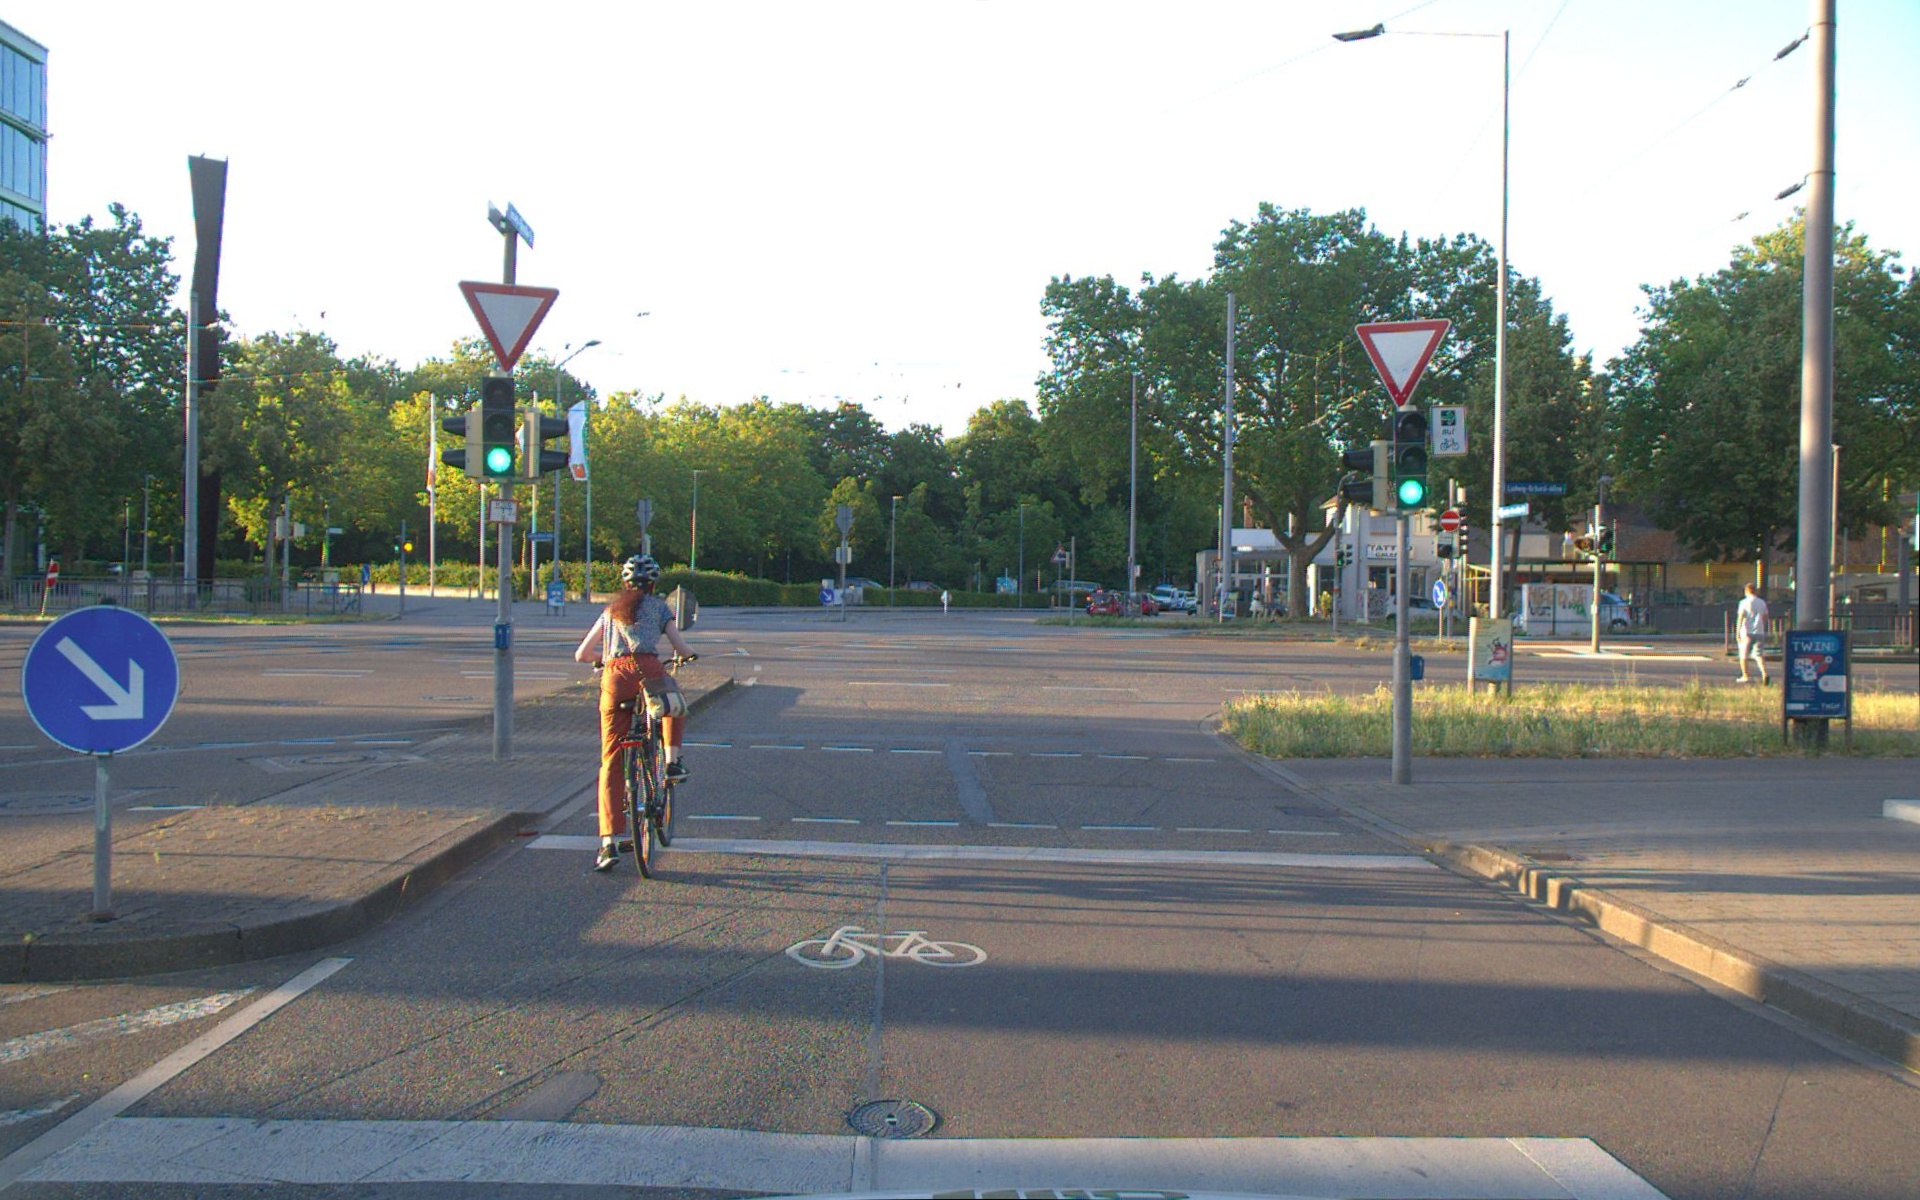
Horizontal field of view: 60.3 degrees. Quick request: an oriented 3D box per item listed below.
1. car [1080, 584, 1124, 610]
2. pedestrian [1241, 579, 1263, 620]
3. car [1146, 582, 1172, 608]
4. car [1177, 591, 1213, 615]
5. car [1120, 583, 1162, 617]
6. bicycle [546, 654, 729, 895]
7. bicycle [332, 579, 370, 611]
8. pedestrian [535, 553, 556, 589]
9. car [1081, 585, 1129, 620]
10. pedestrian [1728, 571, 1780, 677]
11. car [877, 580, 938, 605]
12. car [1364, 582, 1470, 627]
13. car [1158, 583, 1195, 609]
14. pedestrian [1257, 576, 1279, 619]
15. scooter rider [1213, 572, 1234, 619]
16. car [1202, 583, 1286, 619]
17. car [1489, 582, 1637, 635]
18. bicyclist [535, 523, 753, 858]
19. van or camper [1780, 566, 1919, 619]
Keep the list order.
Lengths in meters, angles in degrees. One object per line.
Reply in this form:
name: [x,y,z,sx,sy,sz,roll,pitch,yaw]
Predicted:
car: [9.287,-0.176,107.922,1.719,1.568,4.400,0,-1,21]
pedestrian: [12.177,-0.032,68.929,0.704,1.667,0.897,1,0,23]
car: [15.803,-0.415,131.391,1.951,2.049,4.003,1,1,6]
car: [16.437,0.172,115.725,1.875,1.630,4.002,1,1,17]
car: [11.363,-0.009,103.457,1.875,2.083,4.002,1,1,17]
bicycle: [-1.732,0.894,9.187,0.621,1.086,2.122,1,1,-1]
bicycle: [-23.143,-0.203,62.859,0.685,1.156,2.391,1,1,-3]
pedestrian: [-21.002,-1.455,83.797,0.884,1.785,0.715,1,0,-26]
car: [8.437,0.122,95.798,1.829,1.907,3.875,1,1,20]
pedestrian: [14.039,0.418,29.226,0.747,1.822,0.801,1,0,29]
car: [-3.443,-0.508,109.442,3.905,1.588,2.000,1,0,1]
car: [20.079,0.195,72.749,4.142,1.878,2.001,1,0,2]
car: [17.834,-0.361,135.919,1.953,2.049,3.998,1,1,24]
pedestrian: [12.699,-0.104,68.139,0.704,1.785,0.897,1,0,23]
scooter rider: [10.712,-0.163,67.234,0.688,1.887,0.669,1,-1,-1]
car: [15.306,0.058,89.166,4.285,1.867,1.950,1,1,4]
car: [20.803,0.275,57.158,4.445,1.758,1.860,1,0,-5]
bicyclist: [-1.724,0.474,9.192,1.011,1.748,0.996,1,0,-1]
van or camper: [43.629,-0.359,80.375,6.426,2.452,2.265,1,0,3]
